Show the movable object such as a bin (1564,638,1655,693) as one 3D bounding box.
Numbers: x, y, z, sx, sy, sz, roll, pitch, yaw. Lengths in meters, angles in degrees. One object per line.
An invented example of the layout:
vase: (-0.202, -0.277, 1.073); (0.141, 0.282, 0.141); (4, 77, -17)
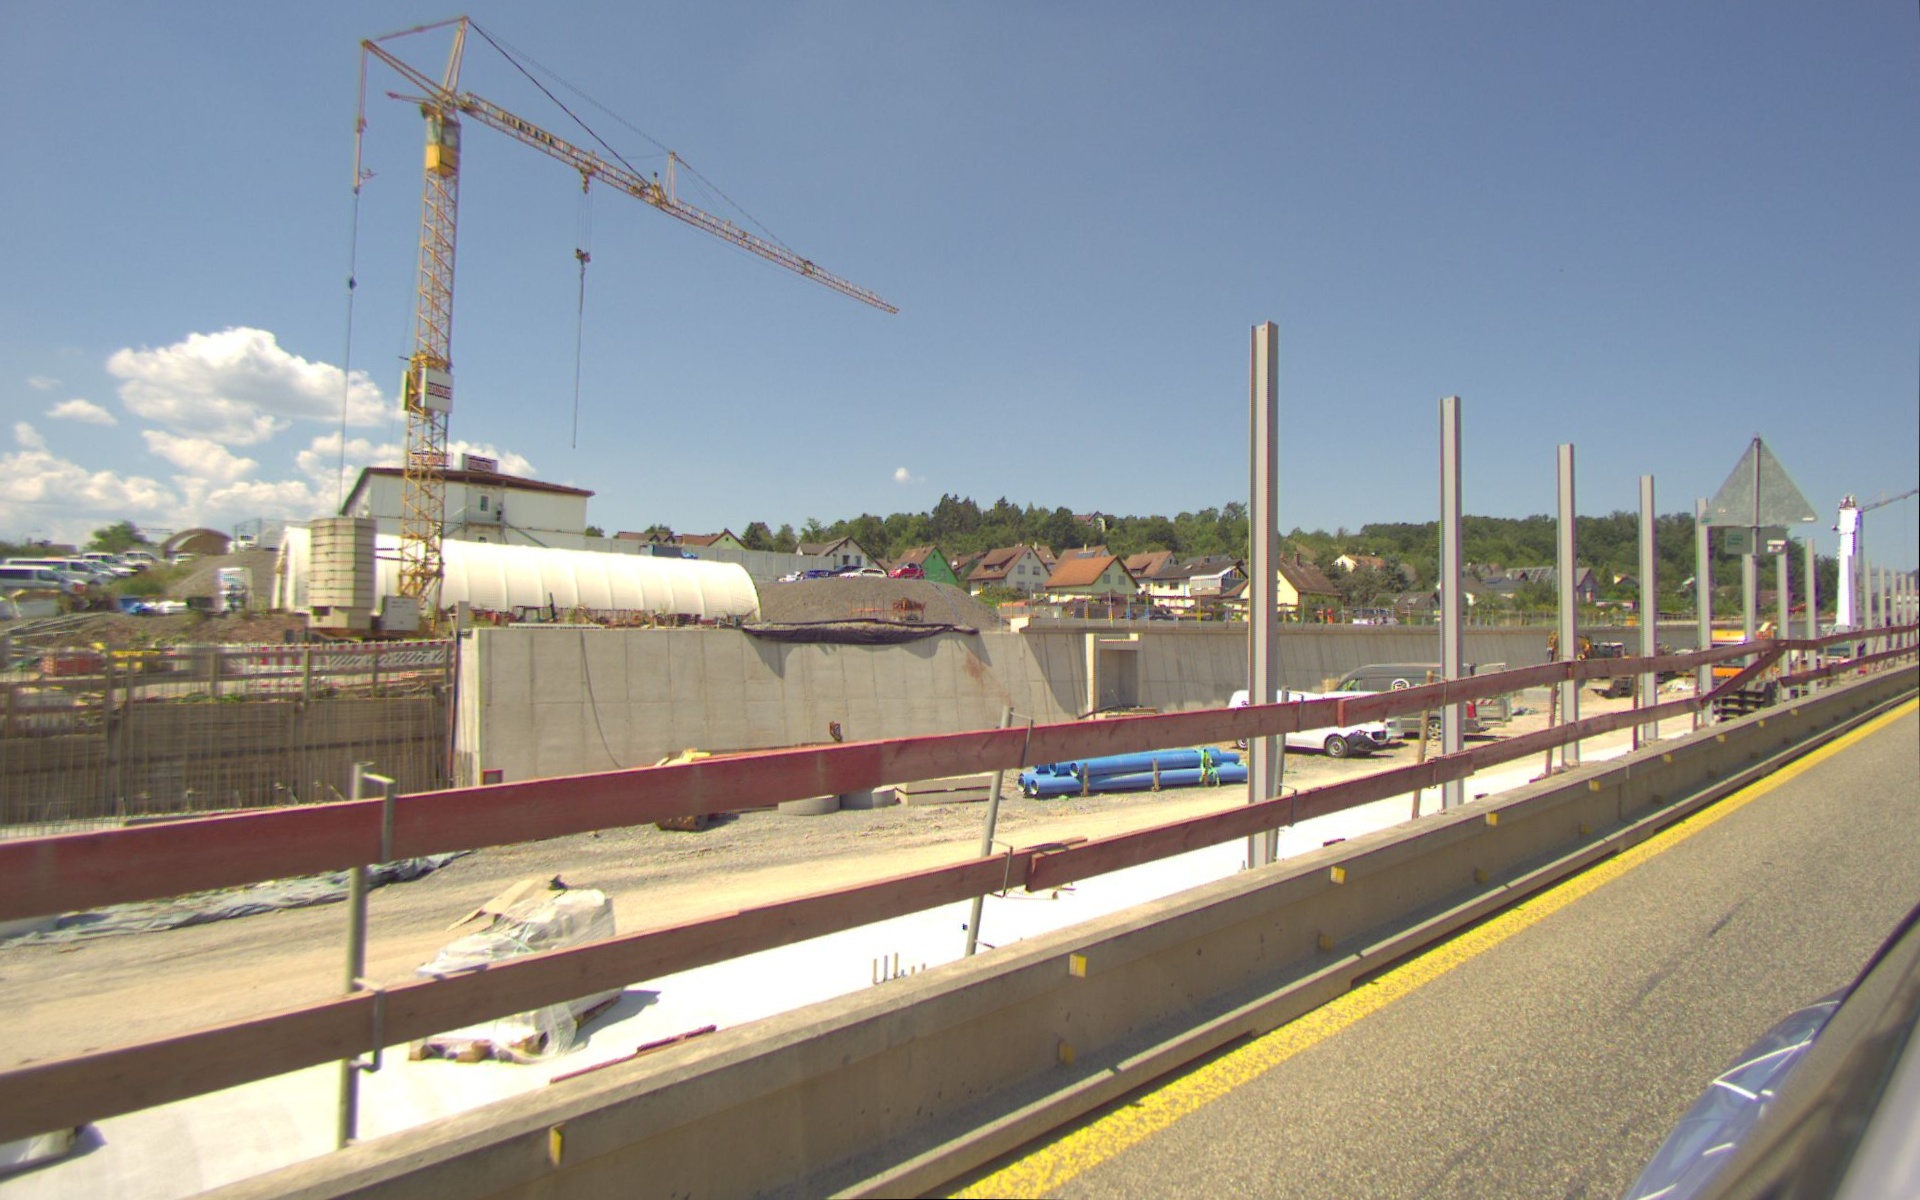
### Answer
movable object such as a bin: (38.130, 3.780, 59.451); (3.924, 2.820, 3.270); (-1, 0, -35)

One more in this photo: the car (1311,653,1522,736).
car: (15.658, 3.240, 34.972); (6.266, 2.615, 2.028); (-4, -4, 36)

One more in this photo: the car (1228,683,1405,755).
car: (10.591, 3.493, 30.424); (1.689, 1.792, 4.796); (1, -3, -40)

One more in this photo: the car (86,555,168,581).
car: (-66.244, -2.515, 80.605); (4.894, 1.984, 1.999); (-1, 0, -37)

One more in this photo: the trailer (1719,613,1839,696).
trailer: (40.744, 2.477, 50.094); (12.670, 3.394, 2.444); (-1, 0, -41)

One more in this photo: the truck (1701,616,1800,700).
truck: (35.785, 2.516, 45.754); (5.342, 3.448, 2.502); (-1, 0, -41)

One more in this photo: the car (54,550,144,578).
car: (-63.660, -2.648, 74.938); (4.894, 1.984, 1.999); (-1, 0, -37)

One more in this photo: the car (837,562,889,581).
car: (-8.154, -2.393, 85.331); (4.141, 1.505, 1.727); (-1, 0, -41)

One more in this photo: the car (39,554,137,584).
car: (-59.508, -2.106, 69.197); (4.894, 1.984, 1.999); (-1, 0, -37)

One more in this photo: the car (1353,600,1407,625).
car: (28.987, 0.816, 69.711); (4.528, 1.623, 1.656); (-1, 0, -42)

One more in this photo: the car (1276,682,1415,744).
car: (12.486, 3.619, 32.929); (3.859, 1.708, 1.666); (-3, -2, 44)

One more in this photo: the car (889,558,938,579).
car: (-3.518, -2.409, 77.479); (3.544, 1.505, 1.544); (-1, 0, -41)

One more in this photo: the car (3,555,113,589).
car: (-55.615, -1.710, 62.561); (4.894, 1.984, 1.999); (-1, 0, -37)

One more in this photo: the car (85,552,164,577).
car: (-68.590, -2.908, 83.174); (4.894, 1.984, 1.999); (-1, 0, -37)

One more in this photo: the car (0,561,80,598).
car: (-51.371, -1.096, 54.774); (5.468, 1.984, 1.999); (-1, 0, -37)
